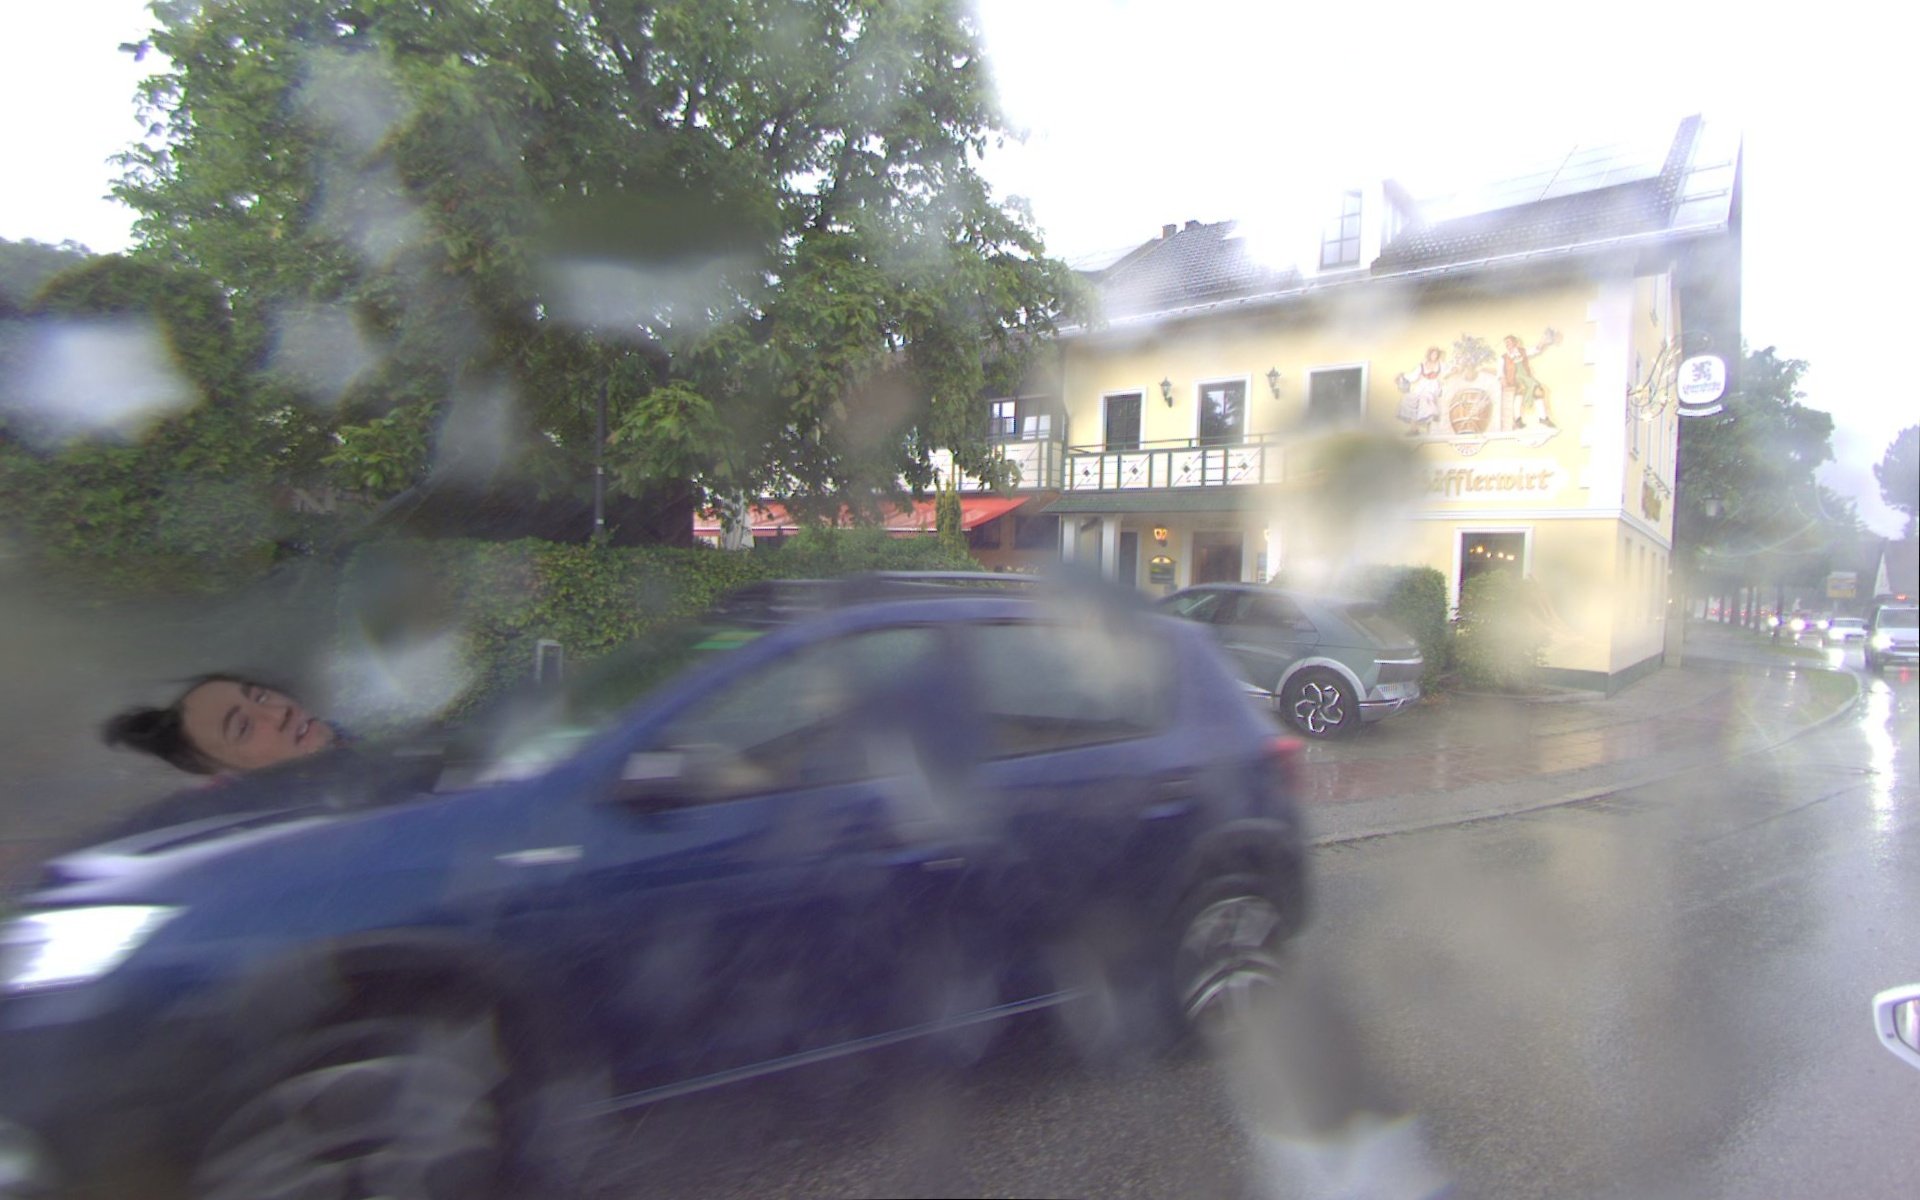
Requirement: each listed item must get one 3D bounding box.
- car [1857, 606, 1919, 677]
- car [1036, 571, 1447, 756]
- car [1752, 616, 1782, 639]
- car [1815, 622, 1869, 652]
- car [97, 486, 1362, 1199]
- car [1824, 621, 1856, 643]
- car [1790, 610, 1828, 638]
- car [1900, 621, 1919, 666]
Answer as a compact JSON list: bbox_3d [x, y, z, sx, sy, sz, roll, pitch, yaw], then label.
[{"bbox_3d":[28.244,1.239,30.088,1.828,1.997,4.681,0,-1,39],"label":"car"},{"bbox_3d":[3.304,0.592,12.289,4.419,1.589,1.831,6,5,37],"label":"car"},{"bbox_3d":[67.400,2.292,83.832,1.840,1.781,4.462,-2,-2,40],"label":"car"},{"bbox_3d":[44.078,1.825,50.273,1.840,1.377,4.463,0,0,39],"label":"car"},{"bbox_3d":[-0.446,0.656,3.394,3.499,1.631,1.578,2,-1,-32],"label":"car"},{"bbox_3d":[90.334,3.246,103.204,2.142,1.925,4.992,3,2,38],"label":"car"},{"bbox_3d":[56.513,1.589,66.926,1.840,1.781,4.462,-2,-2,40],"label":"car"},{"bbox_3d":[45.480,2.039,46.650,2.142,1.925,4.992,3,2,38],"label":"car"}]
